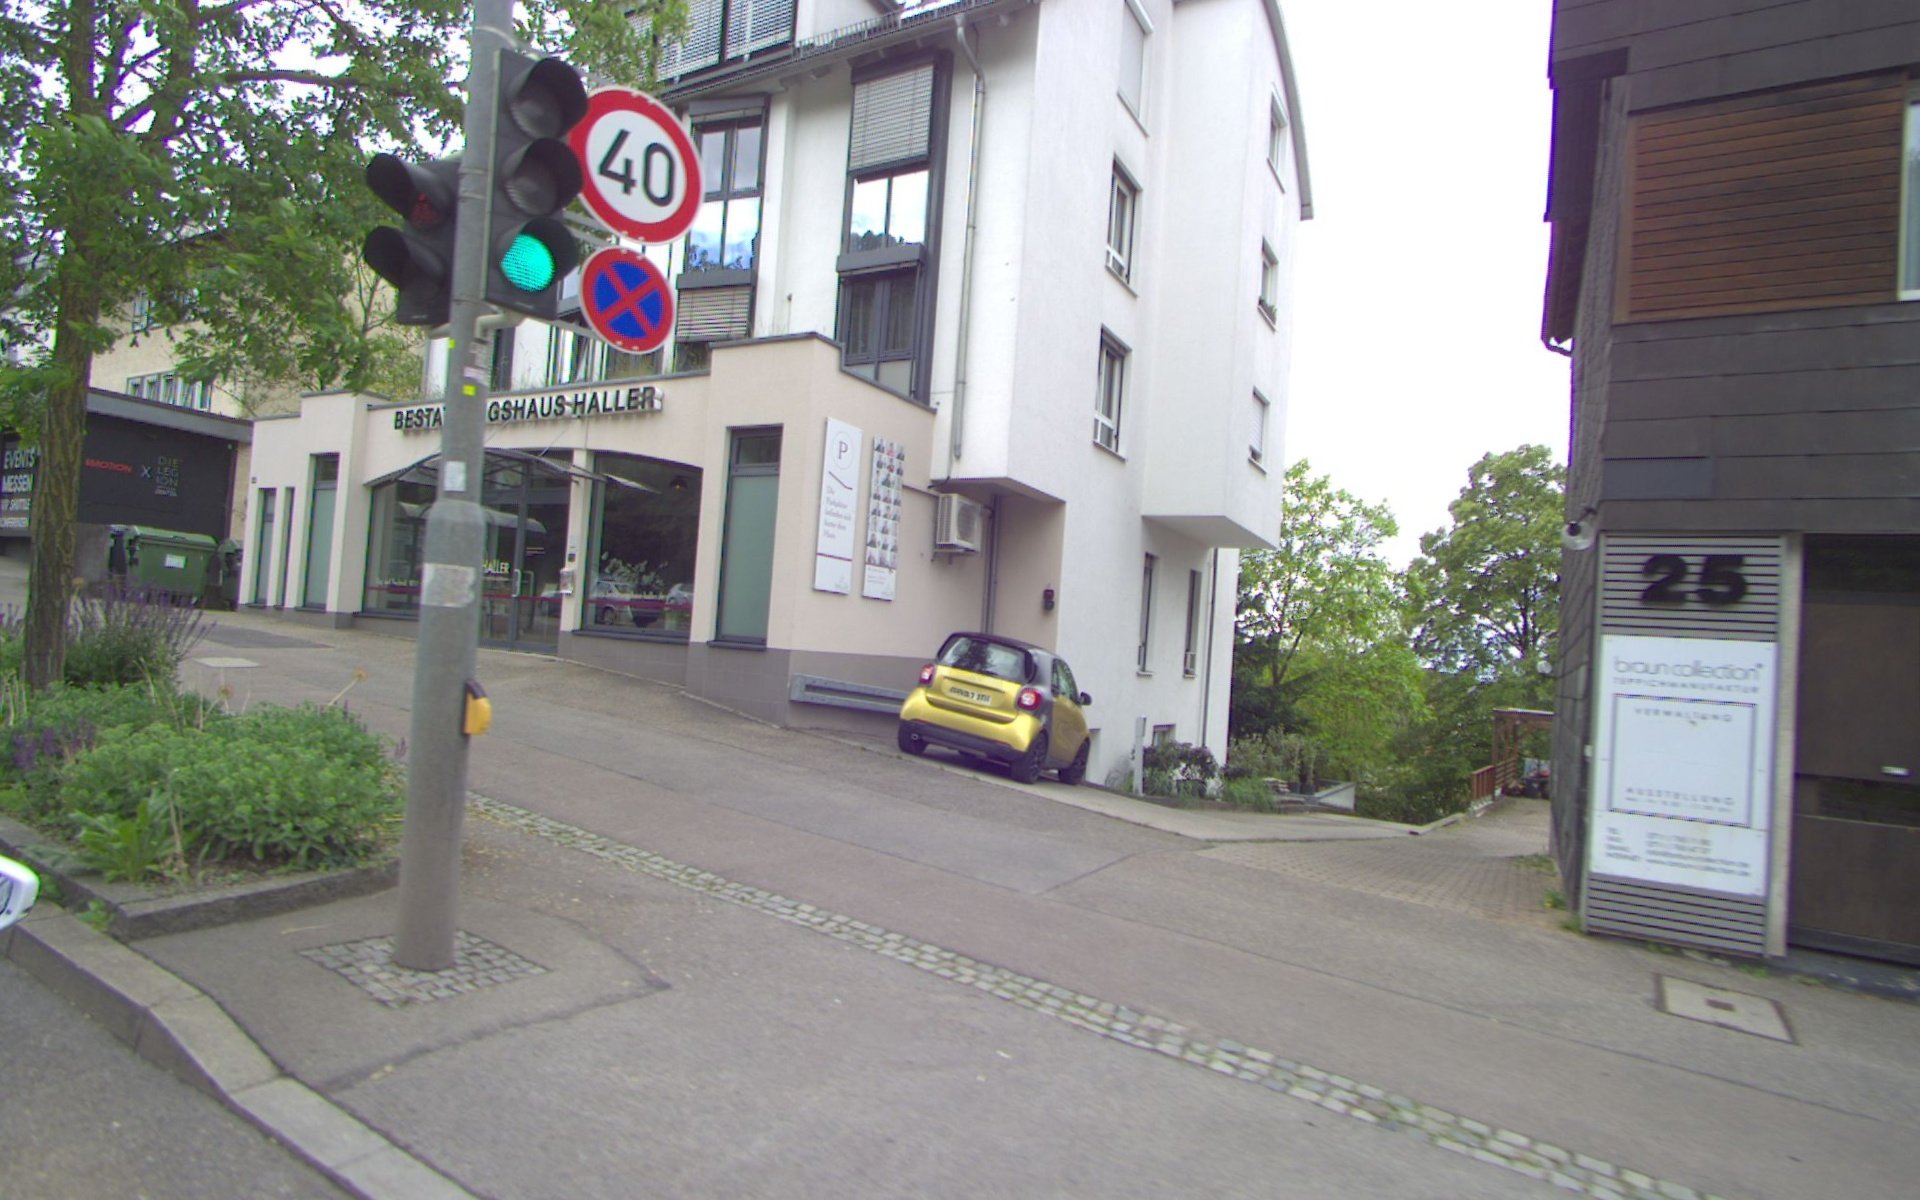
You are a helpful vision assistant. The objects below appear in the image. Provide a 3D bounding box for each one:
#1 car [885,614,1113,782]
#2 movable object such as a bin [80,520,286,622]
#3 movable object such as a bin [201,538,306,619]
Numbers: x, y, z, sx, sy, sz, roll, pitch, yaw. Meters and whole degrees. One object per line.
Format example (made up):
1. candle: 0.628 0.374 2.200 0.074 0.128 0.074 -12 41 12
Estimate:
1. car: 0.598 1.274 12.226 1.636 1.476 3.010 9 -7 23
2. movable object such as a bin: -15.265 -0.583 19.727 3.935 1.468 1.891 7 -2 33
3. movable object such as a bin: -14.685 -0.437 20.932 1.109 1.426 1.342 7 -1 33
